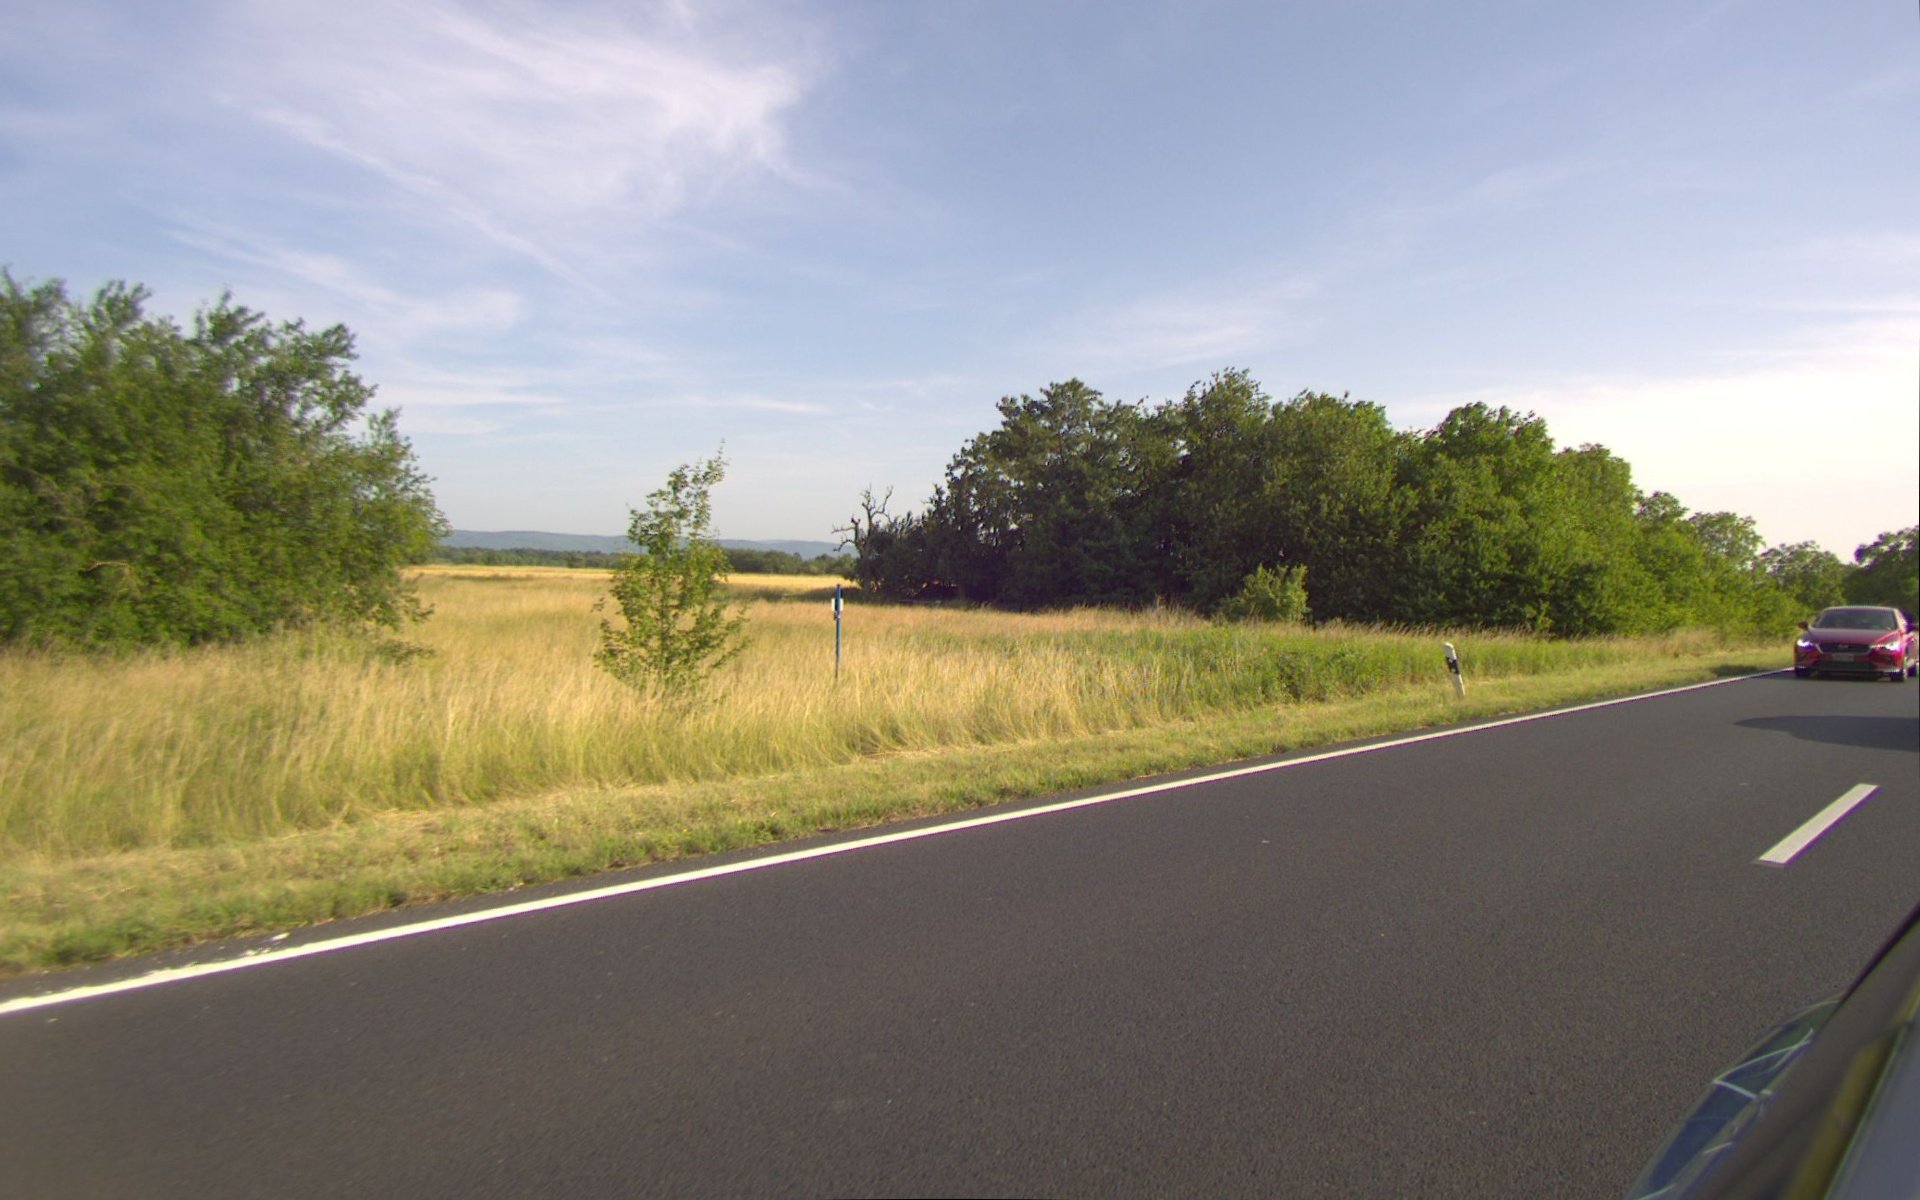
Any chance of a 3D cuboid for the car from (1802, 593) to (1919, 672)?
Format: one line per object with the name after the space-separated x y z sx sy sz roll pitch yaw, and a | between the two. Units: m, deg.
19.532 0.616 21.643 4.423 1.525 1.707 0 0 -42 | car
